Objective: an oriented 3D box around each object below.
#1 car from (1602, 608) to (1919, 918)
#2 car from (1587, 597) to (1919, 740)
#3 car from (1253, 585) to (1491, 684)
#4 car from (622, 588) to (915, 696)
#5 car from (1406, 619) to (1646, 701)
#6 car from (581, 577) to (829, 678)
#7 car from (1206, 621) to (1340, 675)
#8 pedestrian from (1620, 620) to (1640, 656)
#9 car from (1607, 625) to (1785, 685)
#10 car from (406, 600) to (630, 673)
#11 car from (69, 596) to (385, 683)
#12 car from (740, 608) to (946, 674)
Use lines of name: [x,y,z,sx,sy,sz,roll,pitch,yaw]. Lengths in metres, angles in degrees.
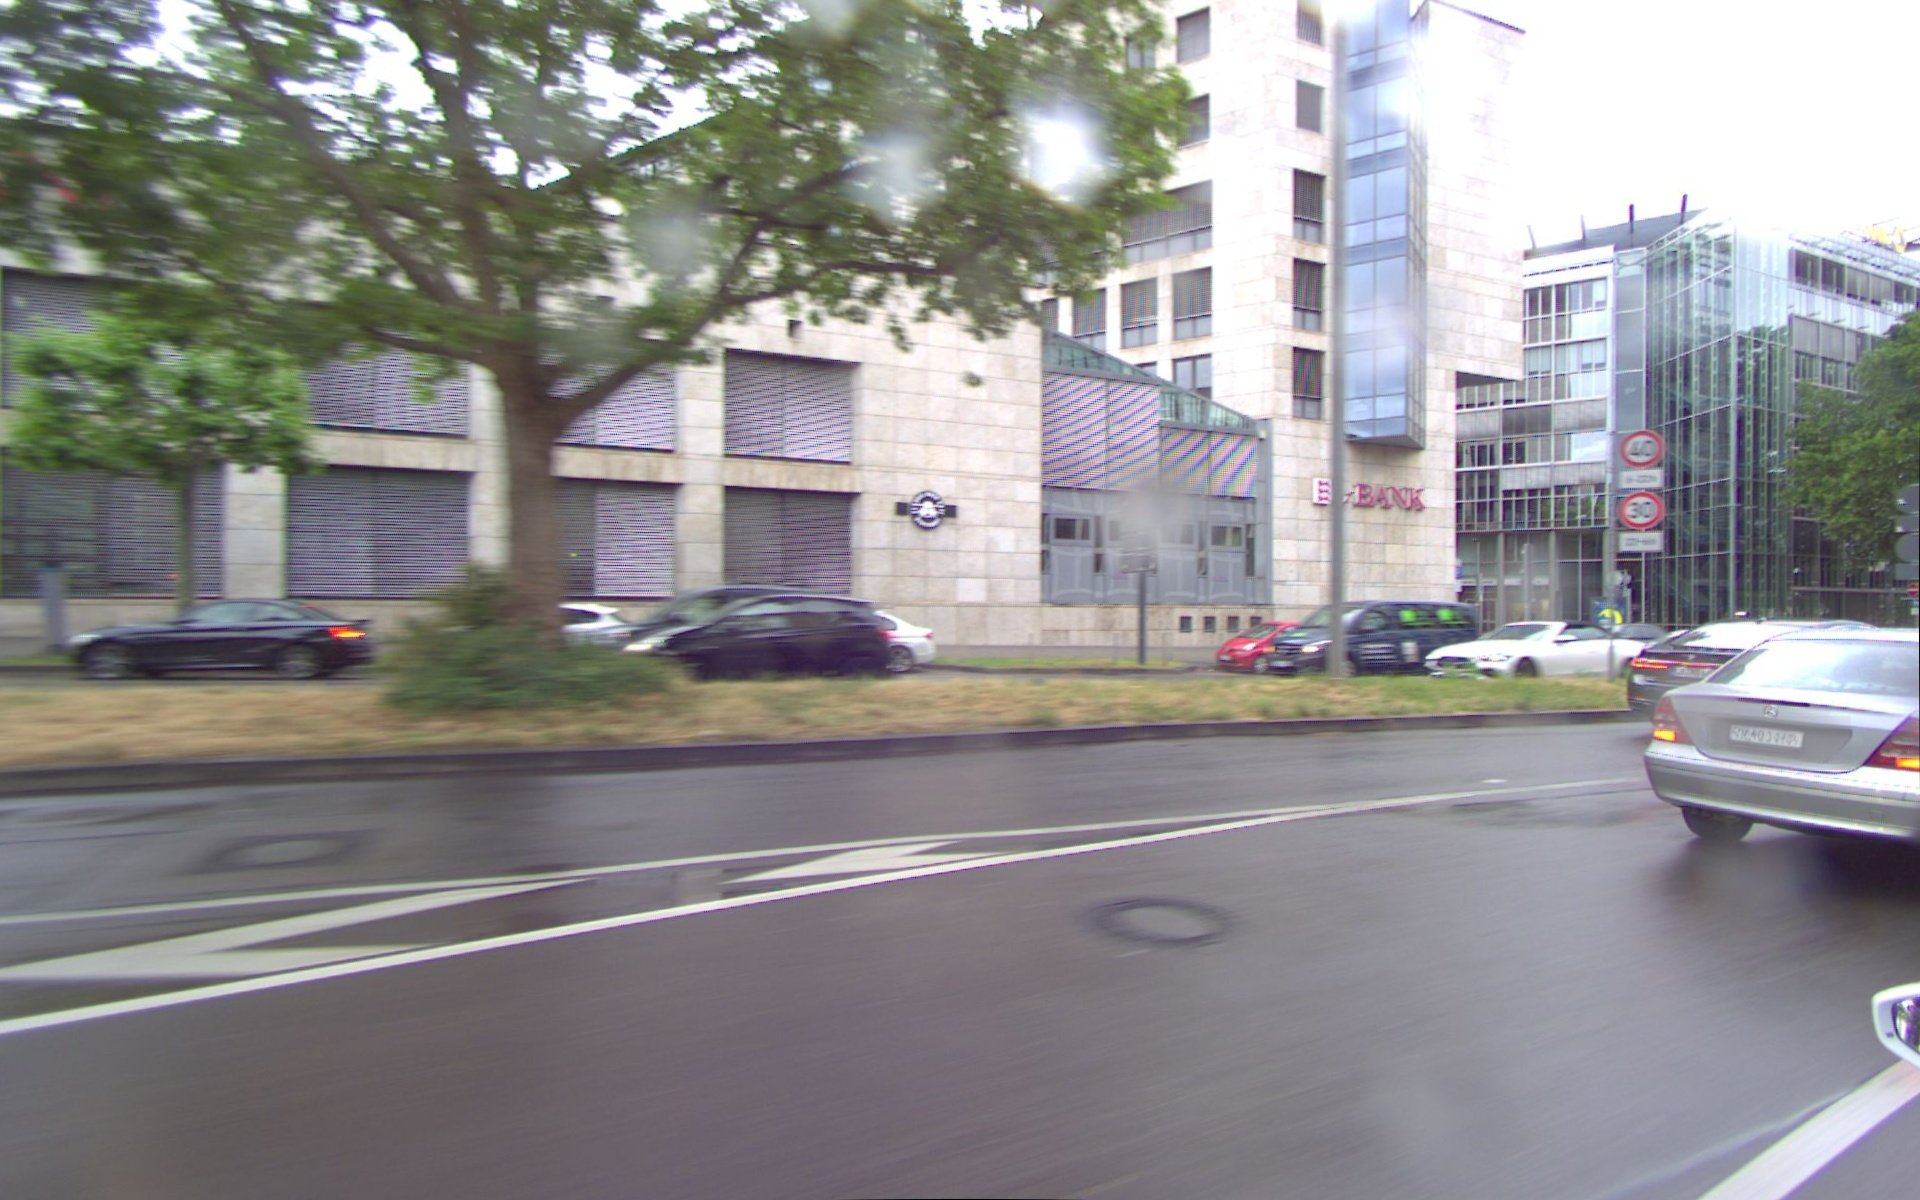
car: [6.383,0.899,6.580,4.304,1.498,1.666,3,0,-26]
car: [10.499,0.783,12.843,4.811,1.498,1.867,-1,-2,-25]
car: [9.202,0.795,22.433,5.028,2.028,1.828,2,-1,-21]
car: [-2.758,0.607,14.357,3.882,1.382,1.746,2,-1,-19]
car: [11.148,1.178,19.807,4.249,1.461,1.857,2,-1,-21]
car: [-4.630,0.525,18.325,4.041,1.661,1.823,2,-1,-28]
car: [8.920,1.359,28.653,3.349,1.434,1.590,2,-1,-20]
pedestrian: [31.036,1.753,46.530,0.659,1.591,0.816,1,1,44]
car: [19.457,1.456,26.552,4.330,1.451,1.724,2,-1,-21]
car: [-9.374,0.794,21.692,4.227,1.434,1.746,2,-1,-19]
car: [-12.736,0.709,17.777,4.109,1.382,1.746,2,-1,-19]
car: [-2.808,0.990,24.063,4.633,1.434,1.745,2,-1,-20]
